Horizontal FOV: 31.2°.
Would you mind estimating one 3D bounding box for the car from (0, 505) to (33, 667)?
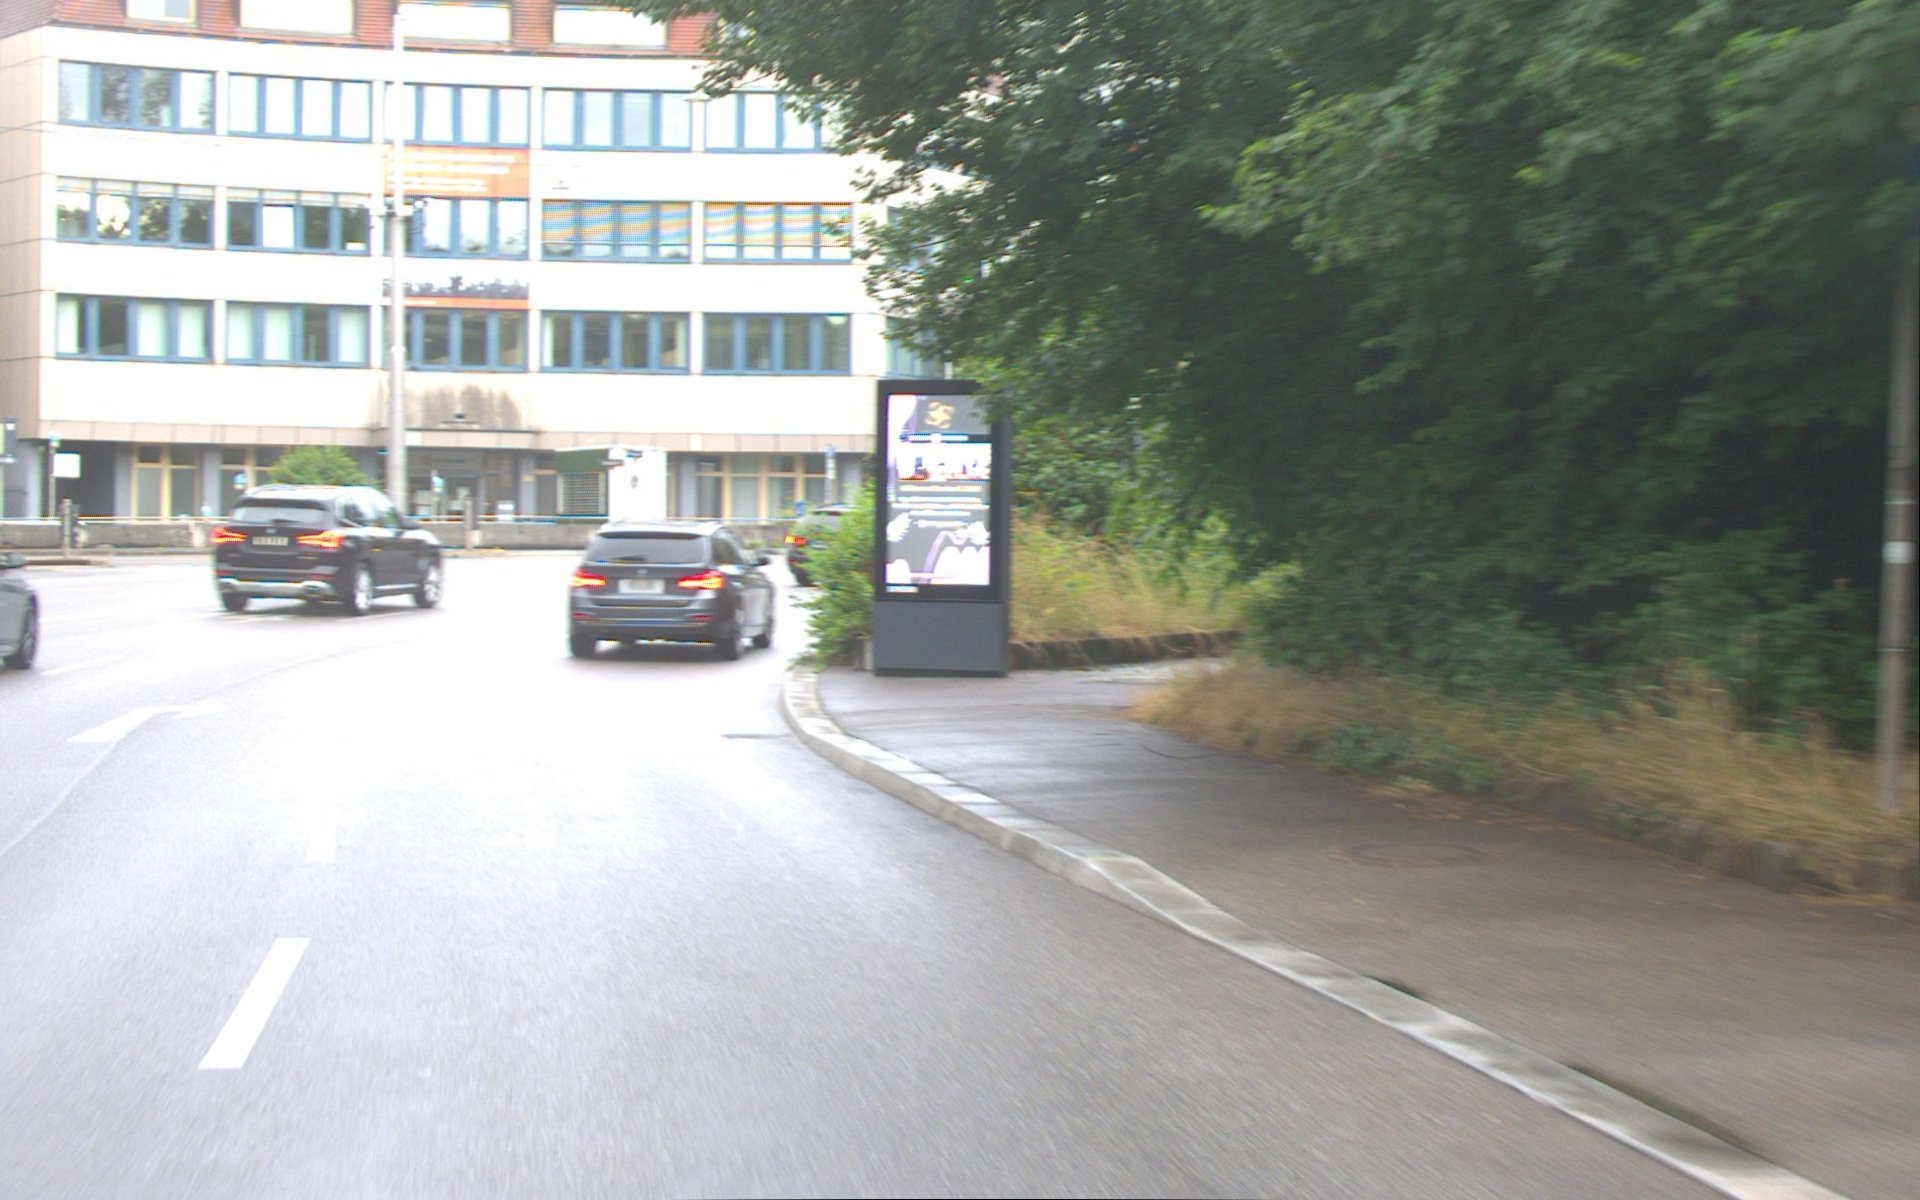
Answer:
[{"bbox_3d":[-9.269,-0.122,29.814,1.790,1.421,4.385,0,1,-7],"label":"car"}]

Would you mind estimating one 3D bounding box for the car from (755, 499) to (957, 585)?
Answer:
[{"bbox_3d":[-1.769,-1.034,60.088,1.793,1.421,4.608,2,2,22],"label":"car"}]

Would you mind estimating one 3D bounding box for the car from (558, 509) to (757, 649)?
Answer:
[{"bbox_3d":[-3.196,-0.242,37.025,1.958,1.421,4.126,0,1,-3],"label":"car"}]

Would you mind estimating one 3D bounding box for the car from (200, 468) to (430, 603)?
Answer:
[{"bbox_3d":[-8.386,-0.832,45.046,1.900,1.687,3.999,0,1,6],"label":"car"}]
